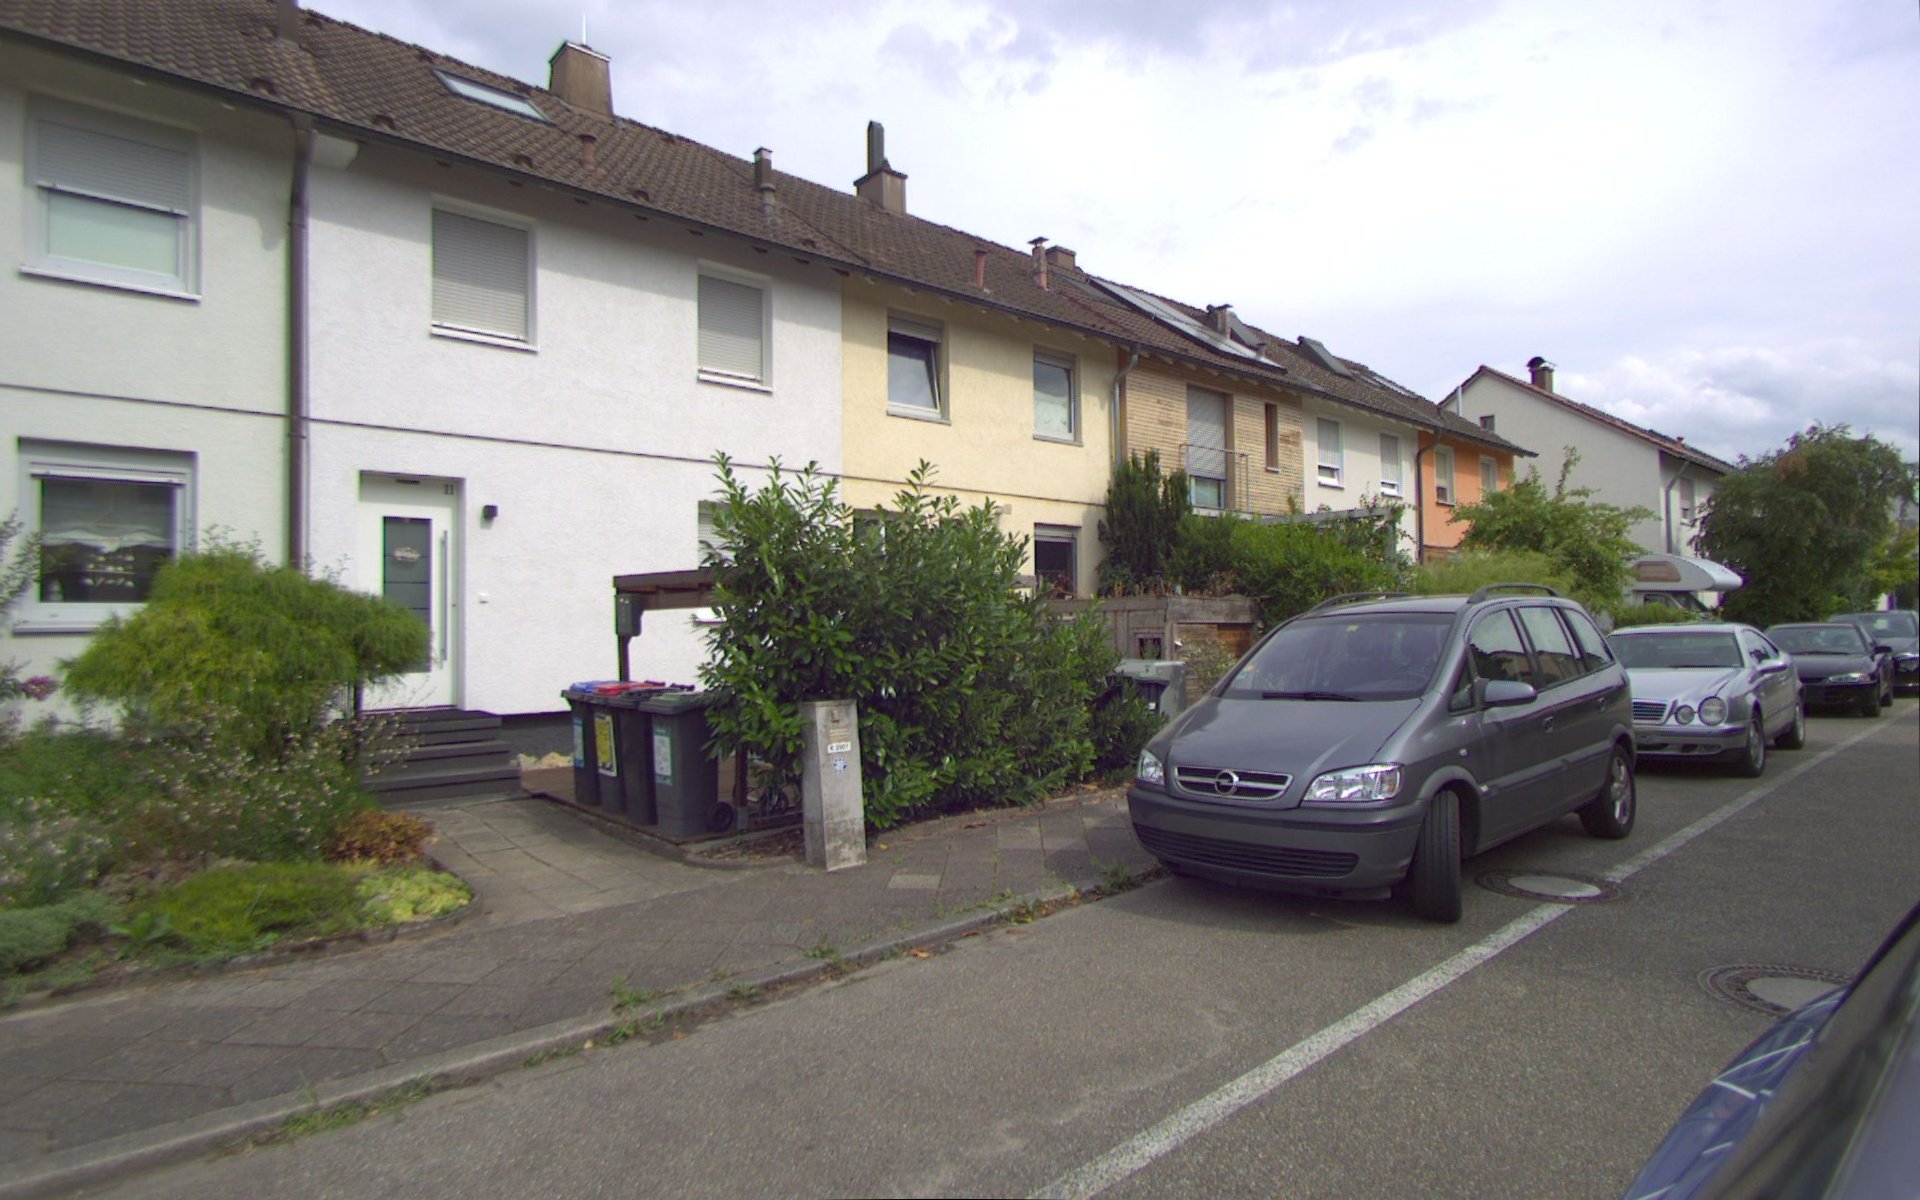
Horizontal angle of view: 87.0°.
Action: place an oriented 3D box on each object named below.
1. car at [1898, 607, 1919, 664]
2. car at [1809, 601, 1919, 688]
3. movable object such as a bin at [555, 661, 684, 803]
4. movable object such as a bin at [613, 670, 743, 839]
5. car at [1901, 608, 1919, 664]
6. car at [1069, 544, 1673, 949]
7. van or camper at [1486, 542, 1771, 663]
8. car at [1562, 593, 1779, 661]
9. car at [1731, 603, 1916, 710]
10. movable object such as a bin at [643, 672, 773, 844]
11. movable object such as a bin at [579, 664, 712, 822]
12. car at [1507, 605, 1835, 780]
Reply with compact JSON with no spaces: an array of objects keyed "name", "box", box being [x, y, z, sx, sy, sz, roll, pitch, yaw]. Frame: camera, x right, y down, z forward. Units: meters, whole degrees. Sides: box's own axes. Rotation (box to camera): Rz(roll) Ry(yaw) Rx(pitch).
[{"name":"car","box":[26.834,0.925,27.297,4.142,1.489,1.744,1,-1,-40]},{"name":"car","box":[17.690,0.781,19.212,4.567,1.486,1.751,0,-2,-42]},{"name":"movable object such as a bin","box":[-2.681,1.011,8.007,0.425,1.000,0.875,-1,-1,41]},{"name":"movable object such as a bin","box":[-2.012,1.073,7.273,0.369,1.080,0.840,-1,-1,40]},{"name":"car","box":[26.728,0.914,27.269,4.149,1.461,1.704,0,-3,-44]},{"name":"car","box":[2.839,0.632,6.402,4.389,1.675,1.869,0,-2,-43]},{"name":"van or camper","box":[17.501,0.082,26.833,2.490,2.854,5.812,0,-1,-38]},{"name":"car","box":[19.498,0.727,27.975,1.864,1.730,4.541,0,-2,-38]},{"name":"car","box":[13.422,0.786,15.651,4.057,1.446,1.734,0,-2,-44]},{"name":"movable object such as a bin","box":[-1.715,1.043,6.918,0.403,1.047,0.779,-2,-2,40]},{"name":"movable object such as a bin","box":[-2.364,1.047,7.654,0.417,1.065,0.874,-1,-1,42]},{"name":"car","box":[7.584,0.811,10.586,4.688,1.425,1.868,0,-3,-44]}]
